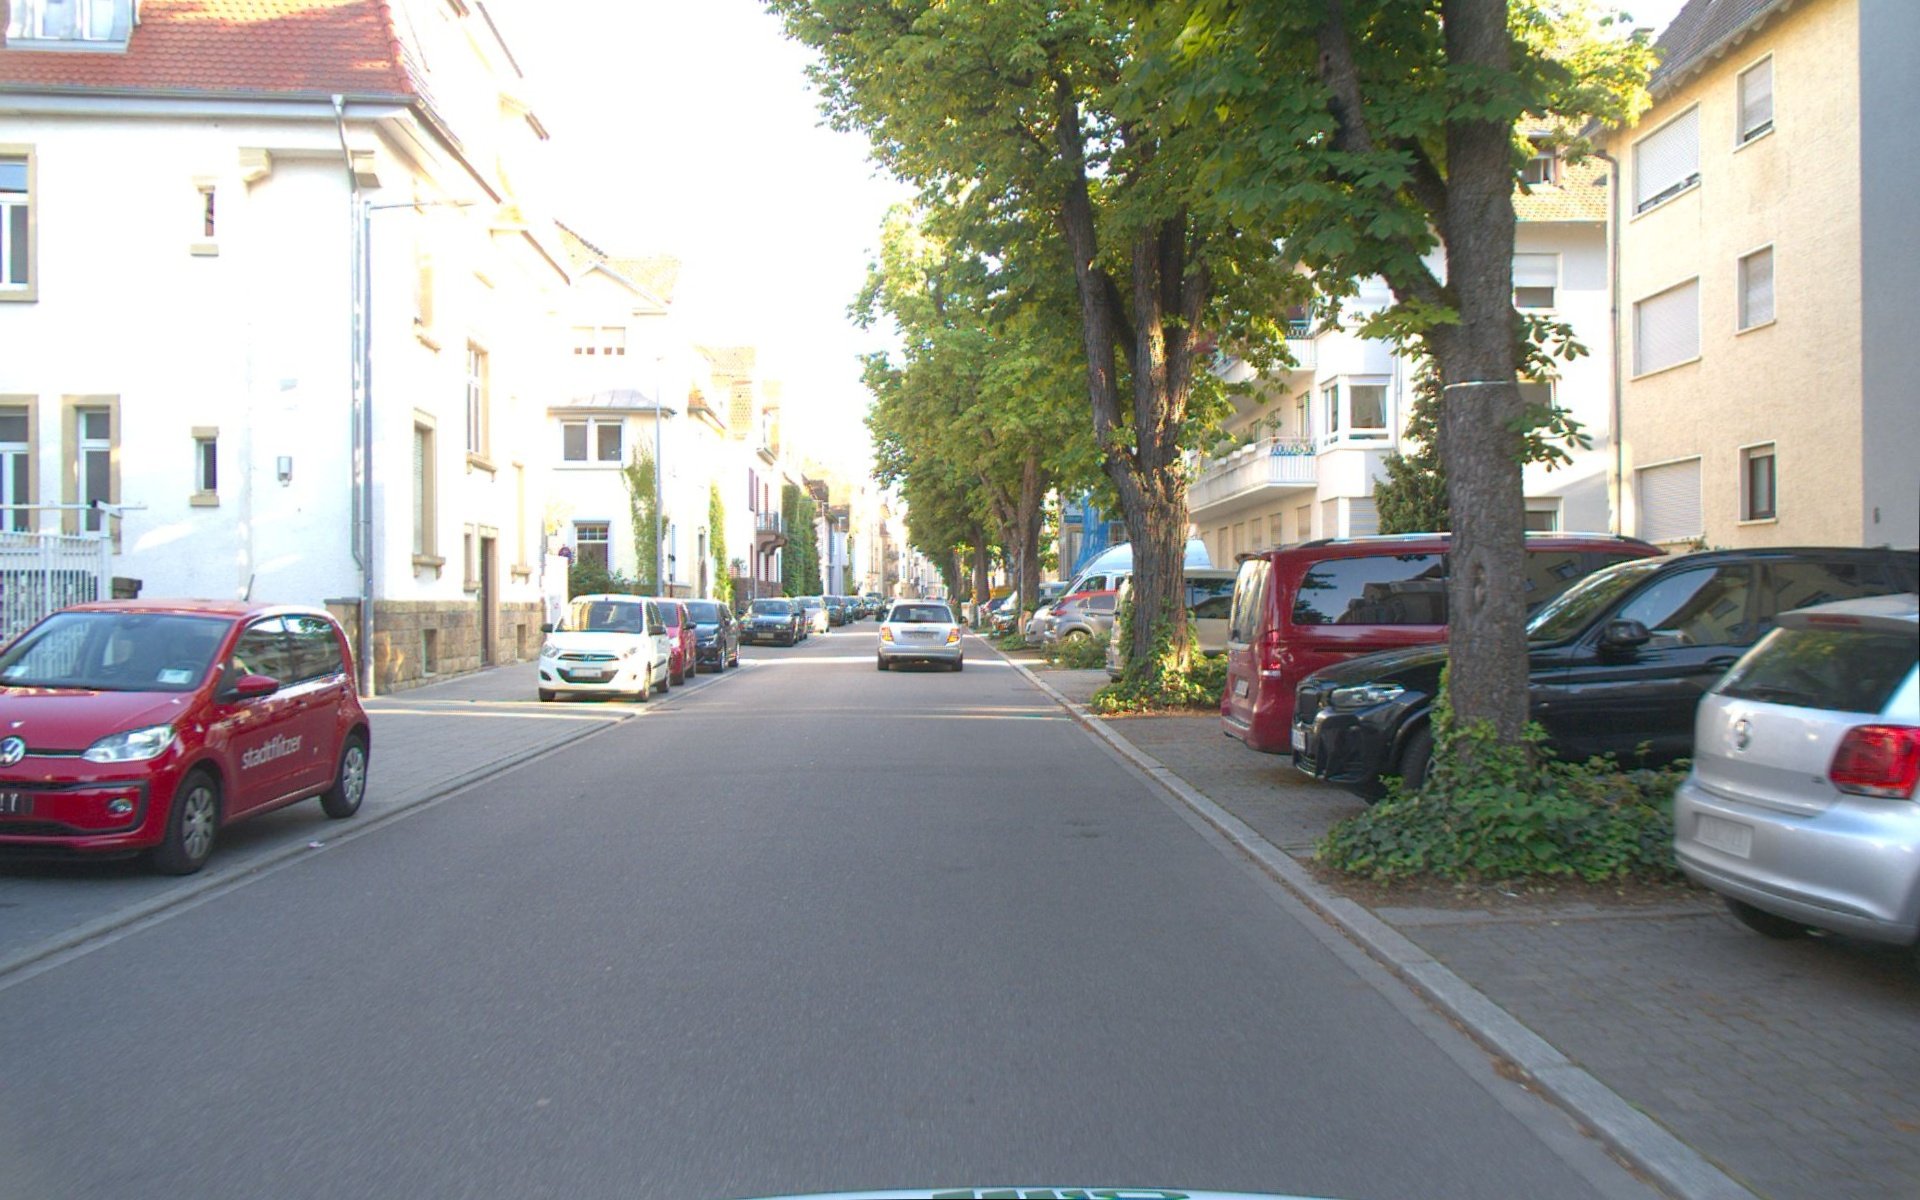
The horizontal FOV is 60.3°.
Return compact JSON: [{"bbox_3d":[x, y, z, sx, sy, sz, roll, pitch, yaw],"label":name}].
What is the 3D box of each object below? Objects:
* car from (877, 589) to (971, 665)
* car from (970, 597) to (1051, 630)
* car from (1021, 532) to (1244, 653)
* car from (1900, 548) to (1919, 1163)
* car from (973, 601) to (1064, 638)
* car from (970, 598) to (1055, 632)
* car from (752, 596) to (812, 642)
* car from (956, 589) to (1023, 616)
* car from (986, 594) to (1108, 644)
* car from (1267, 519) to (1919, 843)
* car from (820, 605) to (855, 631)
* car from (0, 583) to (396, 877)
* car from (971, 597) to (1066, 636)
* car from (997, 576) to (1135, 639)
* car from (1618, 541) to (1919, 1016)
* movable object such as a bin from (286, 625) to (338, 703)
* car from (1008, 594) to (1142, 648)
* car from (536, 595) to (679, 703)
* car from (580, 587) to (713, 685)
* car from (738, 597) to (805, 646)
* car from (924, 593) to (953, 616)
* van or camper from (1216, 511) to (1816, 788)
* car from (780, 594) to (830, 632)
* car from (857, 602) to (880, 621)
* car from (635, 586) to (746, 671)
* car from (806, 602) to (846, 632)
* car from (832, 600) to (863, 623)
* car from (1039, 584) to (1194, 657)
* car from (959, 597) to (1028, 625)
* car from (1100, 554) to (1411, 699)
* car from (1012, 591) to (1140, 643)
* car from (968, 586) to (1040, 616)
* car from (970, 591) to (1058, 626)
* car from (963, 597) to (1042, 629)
[{"bbox_3d":[-0.696,0.567,34.726,1.779,1.498,4.217,0,-1,1],"label":"car"},{"bbox_3d":[2.358,0.637,77.665,3.766,1.508,1.805,0,0,-1],"label":"car"},{"bbox_3d":[4.408,-0.195,43.025,5.432,3.020,2.470,0,0,-4],"label":"car"},{"bbox_3d":[4.319,0.632,3.531,3.655,1.585,1.724,-1,0,-3],"label":"car"},{"bbox_3d":[2.457,0.812,69.899,3.766,1.508,1.805,0,0,-1],"label":"car"},{"bbox_3d":[2.330,0.662,74.259,3.766,1.508,1.805,0,0,-1],"label":"car"},{"bbox_3d":[-6.235,0.643,58.240,1.762,1.508,3.856,0,0,-1],"label":"car"},{"bbox_3d":[1.682,0.117,94.822,3.766,1.508,1.805,0,0,-1],"label":"car"},{"bbox_3d":[2.727,0.589,52.526,3.766,1.508,1.805,0,0,-1],"label":"car"},{"bbox_3d":[4.427,0.476,10.626,4.532,1.869,1.953,0,0,-2],"label":"car"},{"bbox_3d":[-6.859,1.007,92.642,1.762,1.411,3.605,0,0,-1],"label":"car"},{"bbox_3d":[-4.992,0.682,10.418,1.625,1.514,3.753,0,0,-1],"label":"car"},{"bbox_3d":[2.342,0.668,66.973,3.766,1.508,1.805,0,0,-1],"label":"car"},{"bbox_3d":[3.553,0.228,56.084,4.428,2.049,2.250,0,0,-3],"label":"car"},{"bbox_3d":[4.800,0.610,6.506,3.736,1.595,1.743,0,0,-2],"label":"car"},{"bbox_3d":[-9.492,0.930,24.233,0.517,1.127,0.589,0,-1,-1],"label":"movable object such as a bin"},{"bbox_3d":[3.291,0.590,47.897,3.766,1.508,1.805,0,0,-1],"label":"car"},{"bbox_3d":[-5.329,0.715,25.398,1.626,1.526,3.750,0,0,-4],"label":"car"},{"bbox_3d":[-5.646,0.652,30.224,1.762,1.673,3.855,0,-1,-1],"label":"car"},{"bbox_3d":[-5.985,0.661,52.861,1.762,1.508,3.856,0,0,-1],"label":"car"},{"bbox_3d":[-1.442,0.305,112.947,1.779,1.498,4.217,0,-1,1],"label":"car"},{"bbox_3d":[4.322,0.366,13.423,4.223,2.049,2.000,0,0,1],"label":"van or camper"},{"bbox_3d":[-6.405,0.527,68.650,1.762,1.508,3.856,0,0,-1],"label":"car"},{"bbox_3d":[-7.363,0.920,133.602,1.762,1.411,3.605,0,0,-1],"label":"car"},{"bbox_3d":[-5.570,0.543,34.578,1.762,1.673,3.856,0,0,-1],"label":"car"},{"bbox_3d":[-6.668,0.832,82.610,1.762,1.411,3.605,0,0,-1],"label":"car"},{"bbox_3d":[-7.060,0.692,104.178,1.762,1.411,3.605,0,0,-1],"label":"car"},{"bbox_3d":[3.749,0.479,40.000,3.523,1.689,1.649,0,0,-3],"label":"car"},{"bbox_3d":[1.844,0.588,91.355,3.766,1.508,1.805,0,0,-1],"label":"car"},{"bbox_3d":[4.136,0.354,23.607,4.047,1.955,1.890,0,0,-3],"label":"car"},{"bbox_3d":[3.501,0.509,50.291,3.766,1.508,1.805,0,0,-1],"label":"car"},{"bbox_3d":[2.295,0.034,87.120,3.766,1.508,1.805,0,0,-1],"label":"car"},{"bbox_3d":[2.337,0.356,72.013,3.766,1.508,1.805,0,0,-1],"label":"car"},{"bbox_3d":[2.054,0.603,80.120,3.766,1.508,1.805,0,0,-1],"label":"car"}]
